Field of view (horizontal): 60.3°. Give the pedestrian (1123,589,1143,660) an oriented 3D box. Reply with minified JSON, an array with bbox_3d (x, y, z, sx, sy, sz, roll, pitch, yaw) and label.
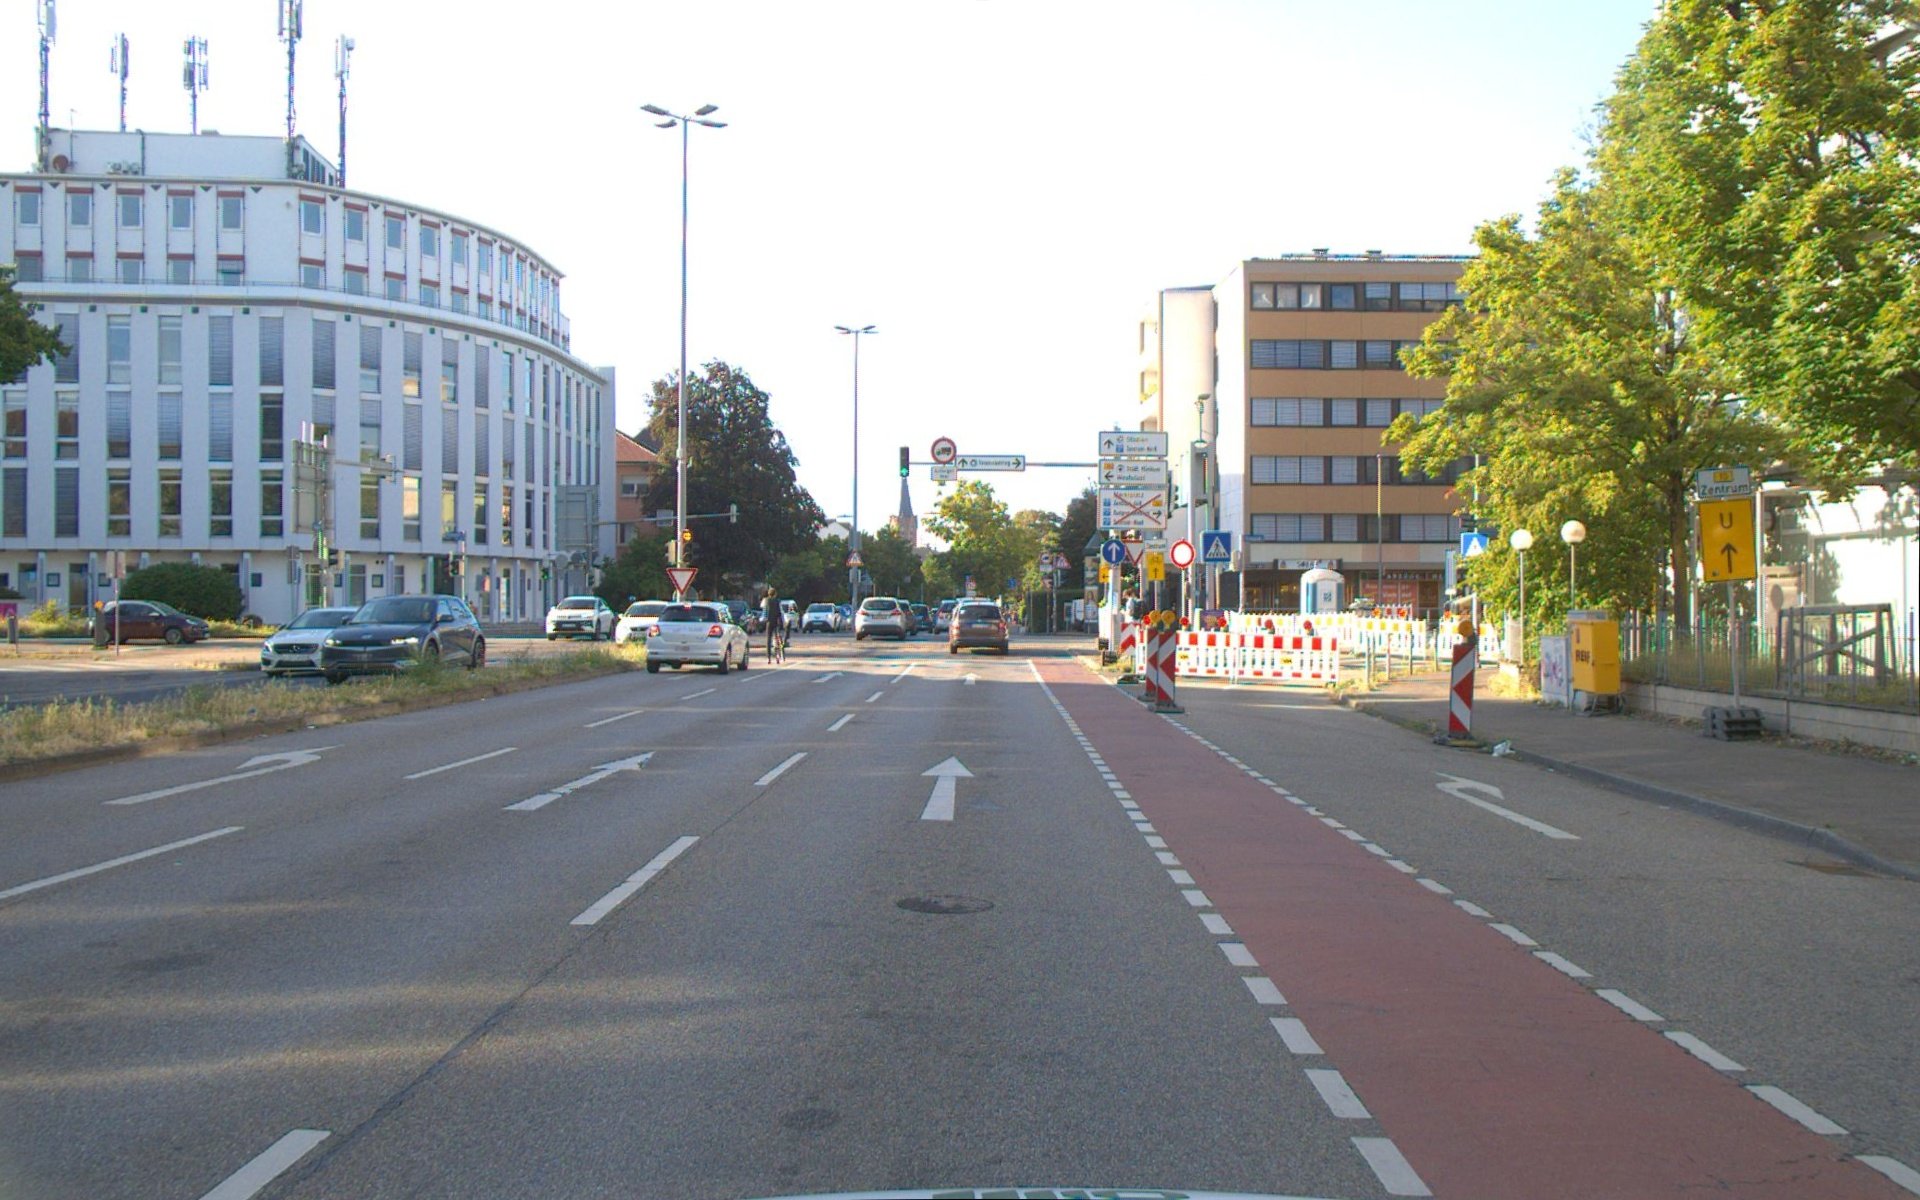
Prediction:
[{"bbox_3d":[4.685,0.667,44.803,0.509,1.901,0.615,0,-1,7],"label":"pedestrian"}]

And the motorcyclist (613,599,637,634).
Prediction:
[{"bbox_3d":[-13.820,0.665,68.302,0.754,1.444,1.238,0,-1,-1],"label":"motorcyclist"}]

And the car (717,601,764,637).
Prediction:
[{"bbox_3d":[-9.662,0.820,73.026,1.624,1.521,3.999,0,0,-1],"label":"car"}]

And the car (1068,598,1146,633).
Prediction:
[{"bbox_3d":[8.321,0.881,93.839,4.275,1.910,2.000,0,-1,-1],"label":"car"}]

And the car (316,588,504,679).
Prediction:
[{"bbox_3d":[-10.362,0.603,31.560,1.953,1.606,4.899,0,0,0],"label":"car"}]

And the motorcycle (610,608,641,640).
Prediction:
[{"bbox_3d":[-13.811,0.981,68.294,0.754,1.307,2.842,0,0,-1],"label":"motorcycle"}]

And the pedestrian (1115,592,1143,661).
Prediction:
[{"bbox_3d":[4.509,0.708,44.084,0.725,1.831,0.716,0,-1,6],"label":"pedestrian"}]

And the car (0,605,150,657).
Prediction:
[{"bbox_3d":[-28.770,0.998,53.430,4.253,1.657,2.001,0,-1,5],"label":"car"}]

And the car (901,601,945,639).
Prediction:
[{"bbox_3d":[-1.553,0.834,70.706,1.712,1.591,4.050,0,0,1],"label":"car"}]

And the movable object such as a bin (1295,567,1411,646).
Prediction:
[{"bbox_3d":[12.281,0.205,51.751,3.260,2.425,1.529,0,-1,0],"label":"movable object such as a bin"}]

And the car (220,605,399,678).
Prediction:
[{"bbox_3d":[-13.861,0.838,35.548,1.952,1.438,4.444,-1,0,2],"label":"car"}]

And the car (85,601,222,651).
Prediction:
[{"bbox_3d":[-27.298,0.902,56.052,3.732,1.557,1.862,-1,-2,-3],"label":"car"}]

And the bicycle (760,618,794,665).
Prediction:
[{"bbox_3d":[-4.531,1.024,41.020,0.685,1.119,2.257,0,0,-2],"label":"bicycle"}]

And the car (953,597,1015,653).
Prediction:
[{"bbox_3d":[0.713,0.708,48.438,1.712,1.591,4.050,0,0,1],"label":"car"}]

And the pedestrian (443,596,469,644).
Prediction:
[{"bbox_3d":[-20.033,0.796,65.717,0.647,1.901,0.778,-1,-1,27],"label":"pedestrian"}]

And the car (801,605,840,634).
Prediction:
[{"bbox_3d":[-7.242,0.987,85.941,1.810,1.487,4.048,0,0,-2],"label":"car"}]

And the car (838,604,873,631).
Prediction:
[{"bbox_3d":[-5.797,0.970,91.839,1.810,1.487,4.048,0,0,-2],"label":"car"}]

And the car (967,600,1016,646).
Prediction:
[{"bbox_3d":[1.171,0.867,63.156,1.782,1.668,3.999,0,0,0],"label":"car"}]

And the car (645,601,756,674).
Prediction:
[{"bbox_3d":[-5.557,0.773,35.857,1.650,1.482,4.001,0,0,1],"label":"car"}]

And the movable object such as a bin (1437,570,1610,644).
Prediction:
[{"bbox_3d":[19.817,0.234,58.359,5.241,2.534,2.547,0,-1,-2],"label":"movable object such as a bin"}]

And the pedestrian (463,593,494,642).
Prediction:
[{"bbox_3d":[-19.089,0.699,65.514,0.614,1.901,1.127,0,-1,22],"label":"pedestrian"}]

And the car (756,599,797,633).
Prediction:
[{"bbox_3d":[-10.199,0.893,92.139,1.876,1.843,4.715,0,0,-2],"label":"car"}]

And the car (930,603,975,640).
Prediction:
[{"bbox_3d":[-0.329,0.989,75.393,1.953,1.534,3.999,-2,-2,0],"label":"car"}]

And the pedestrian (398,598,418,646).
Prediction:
[{"bbox_3d":[-21.898,0.880,65.591,0.648,1.891,0.776,0,-1,-11],"label":"pedestrian"}]

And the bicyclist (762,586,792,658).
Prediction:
[{"bbox_3d":[-4.530,0.532,40.977,0.677,1.758,0.987,0,-1,-2],"label":"bicyclist"}]

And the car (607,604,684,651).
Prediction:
[{"bbox_3d":[-9.991,0.850,52.872,1.650,1.417,4.181,0,0,0],"label":"car"}]

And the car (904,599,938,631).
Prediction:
[{"bbox_3d":[-2.056,0.807,89.015,1.630,1.686,4.001,0,0,1],"label":"car"}]

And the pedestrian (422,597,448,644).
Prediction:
[{"bbox_3d":[-20.974,0.814,66.059,0.743,1.874,0.818,0,-1,2],"label":"pedestrian"}]

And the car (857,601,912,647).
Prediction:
[{"bbox_3d":[-2.673,0.842,59.510,1.712,1.591,4.050,0,0,1],"label":"car"}]

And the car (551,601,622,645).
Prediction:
[{"bbox_3d":[-13.538,0.798,60.147,1.650,1.525,4.513,0,0,-1],"label":"car"}]
